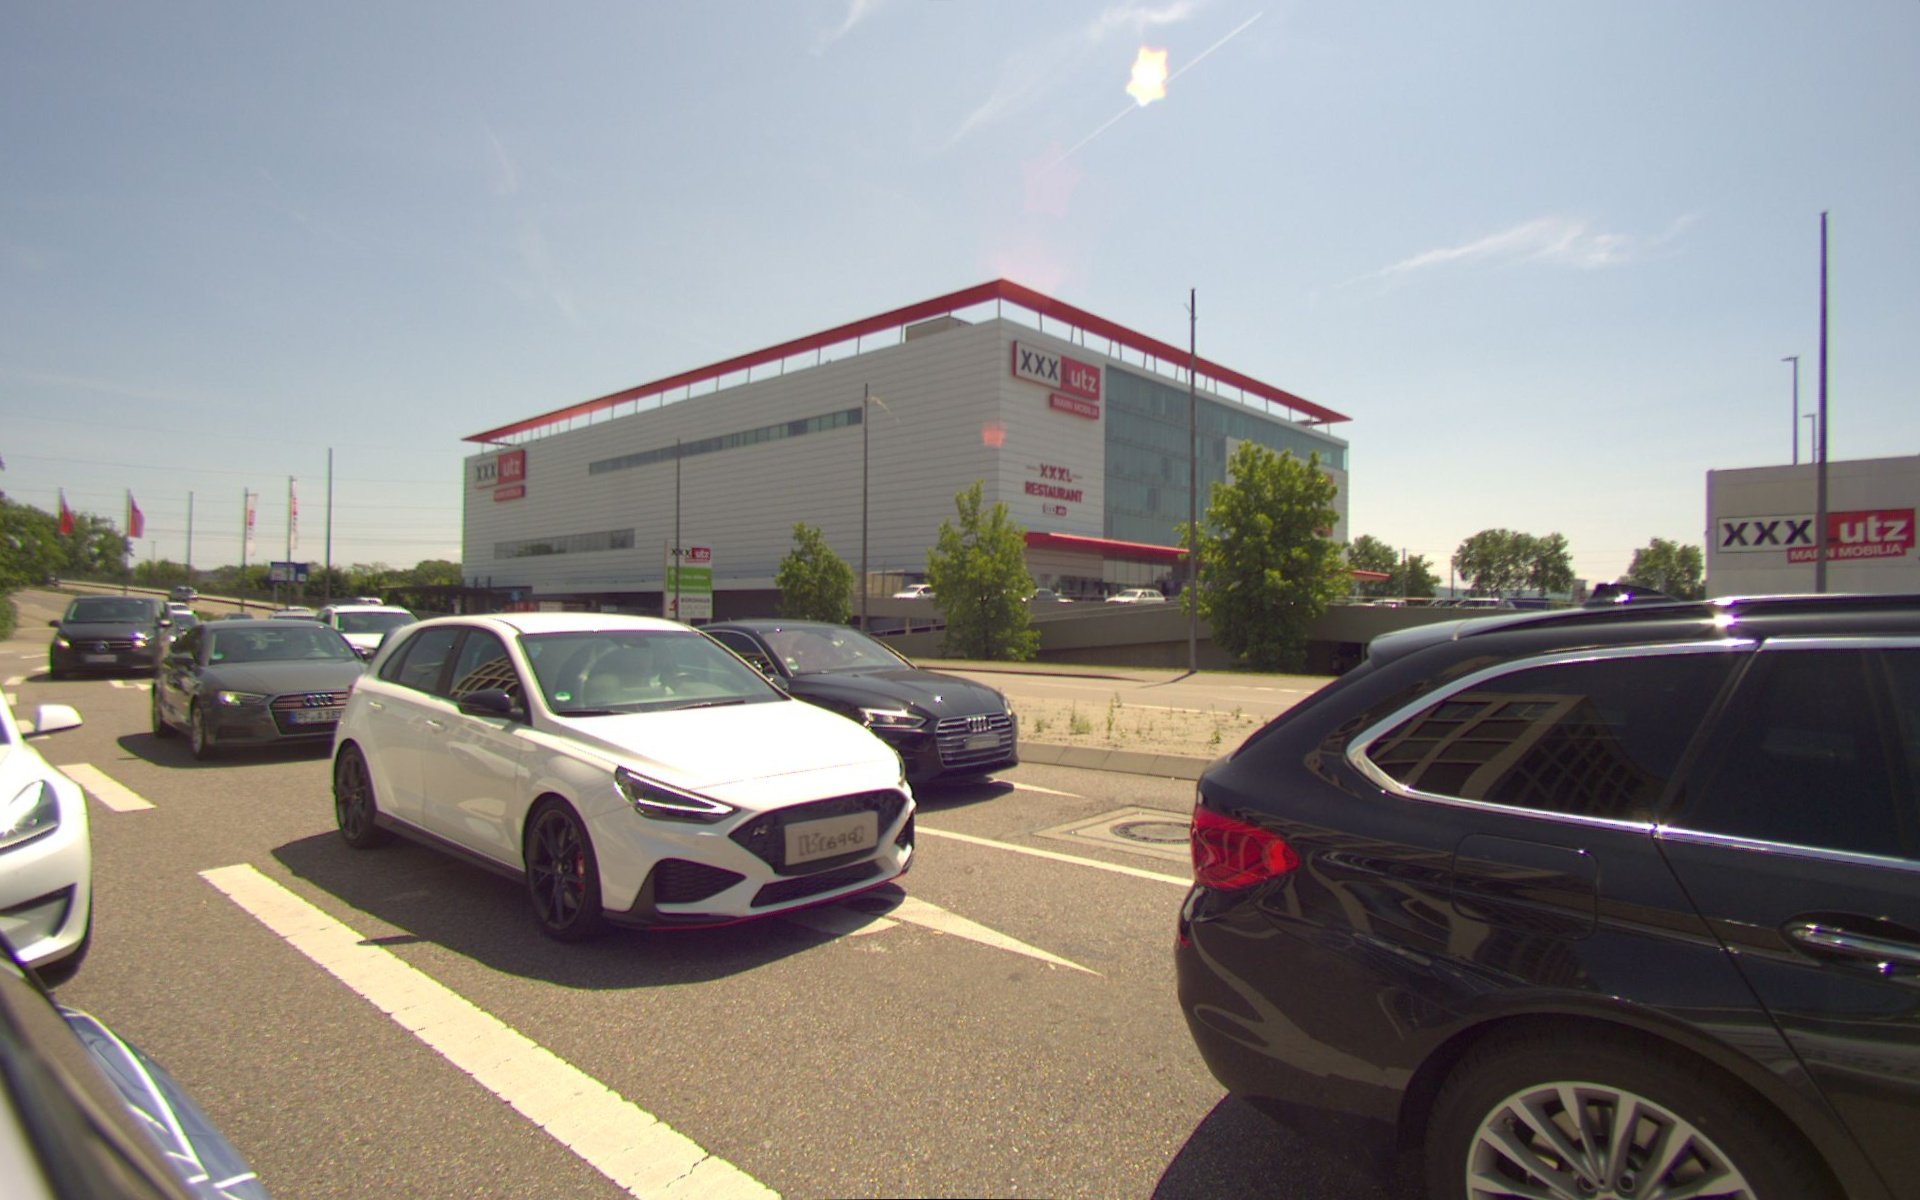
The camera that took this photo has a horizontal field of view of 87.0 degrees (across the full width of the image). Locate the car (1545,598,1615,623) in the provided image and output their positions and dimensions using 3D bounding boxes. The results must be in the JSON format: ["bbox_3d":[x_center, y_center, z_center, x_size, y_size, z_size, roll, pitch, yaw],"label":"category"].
[{"bbox_3d":[45.211,0.751,73.888,4.134,1.754,1.759,0,-2,42],"label":"car"}]

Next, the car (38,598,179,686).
[{"bbox_3d":[-19.661,0.917,23.577,1.865,1.835,4.850,1,-1,-33],"label":"car"}]

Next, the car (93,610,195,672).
[{"bbox_3d":[-23.465,1.155,29.242,1.784,1.652,4.011,1,-2,-32],"label":"car"}]

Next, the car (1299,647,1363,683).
[{"bbox_3d":[19.046,3.288,51.896,1.997,1.719,3.949,-1,-2,38],"label":"car"}]

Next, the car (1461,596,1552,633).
[{"bbox_3d":[30.898,0.840,57.249,4.323,2.029,1.975,0,-2,38],"label":"car"}]

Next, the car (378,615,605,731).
[{"bbox_3d":[-7.003,0.968,14.872,1.744,1.413,4.435,0,-1,-43],"label":"car"}]

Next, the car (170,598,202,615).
[{"bbox_3d":[-83.581,0.688,109.262,4.040,1.736,1.843,-2,-3,40],"label":"car"}]

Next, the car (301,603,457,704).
[{"bbox_3d":[-11.030,0.920,19.062,1.743,1.653,4.498,0,0,-40],"label":"car"}]

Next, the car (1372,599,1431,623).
[{"bbox_3d":[35.982,0.928,82.433,4.000,1.915,1.972,-1,-2,43],"label":"car"}]

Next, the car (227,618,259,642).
[{"bbox_3d":[-48.437,1.998,68.405,1.698,1.564,4.010,1,-2,-35],"label":"car"}]

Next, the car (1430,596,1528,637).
[{"bbox_3d":[27.156,0.859,53.020,4.323,2.029,1.974,0,-2,38],"label":"car"}]

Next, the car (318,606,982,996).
[{"bbox_3d":[-1.997,0.777,5.794,4.068,1.447,1.769,-1,-1,41],"label":"car"}]

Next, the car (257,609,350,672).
[{"bbox_3d":[-16.451,0.974,25.268,1.741,1.433,3.908,-1,-1,-36],"label":"car"}]

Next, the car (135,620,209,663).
[{"bbox_3d":[-28.235,1.470,36.356,1.582,1.451,3.744,1,-2,-30],"label":"car"}]

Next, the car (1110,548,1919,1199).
[{"bbox_3d":[2.659,0.649,1.614,4.553,1.451,1.779,-1,-1,40],"label":"car"}]

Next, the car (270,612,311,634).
[{"bbox_3d":[-54.731,1.842,82.716,4.041,1.736,1.843,-1,0,41],"label":"car"}]

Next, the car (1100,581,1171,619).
[{"bbox_3d":[10.025,0.053,57.562,4.407,2.029,1.680,2,-2,-44],"label":"car"}]

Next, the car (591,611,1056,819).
[{"bbox_3d":[-1.435,0.854,9.099,4.466,1.415,1.654,-2,-1,42],"label":"car"}]

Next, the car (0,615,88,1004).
[{"bbox_3d":[-5.621,0.810,4.703,4.282,1.447,1.800,-1,0,41],"label":"car"}]

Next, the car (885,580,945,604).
[{"bbox_3d":[-3.053,-0.529,68.970,3.941,1.519,1.718,2,-2,-45],"label":"car"}]

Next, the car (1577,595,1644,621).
[{"bbox_3d":[53.103,0.651,82.667,4.328,2.029,1.972,0,-2,42],"label":"car"}]

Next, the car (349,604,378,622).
[{"bbox_3d":[-79.682,1.714,135.209,4.815,2.300,2.162,-1,-2,44],"label":"car"}]

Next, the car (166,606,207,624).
[{"bbox_3d":[-65.160,1.308,85.247,3.994,1.483,1.705,-1,-2,38],"label":"car"}]

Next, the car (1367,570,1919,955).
[{"bbox_3d":[4.119,0.602,4.409,4.009,1.433,1.674,-2,-1,43],"label":"car"}]

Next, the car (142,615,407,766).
[{"bbox_3d":[-7.825,0.883,11.393,1.744,1.393,4.092,2,-2,-45],"label":"car"}]
